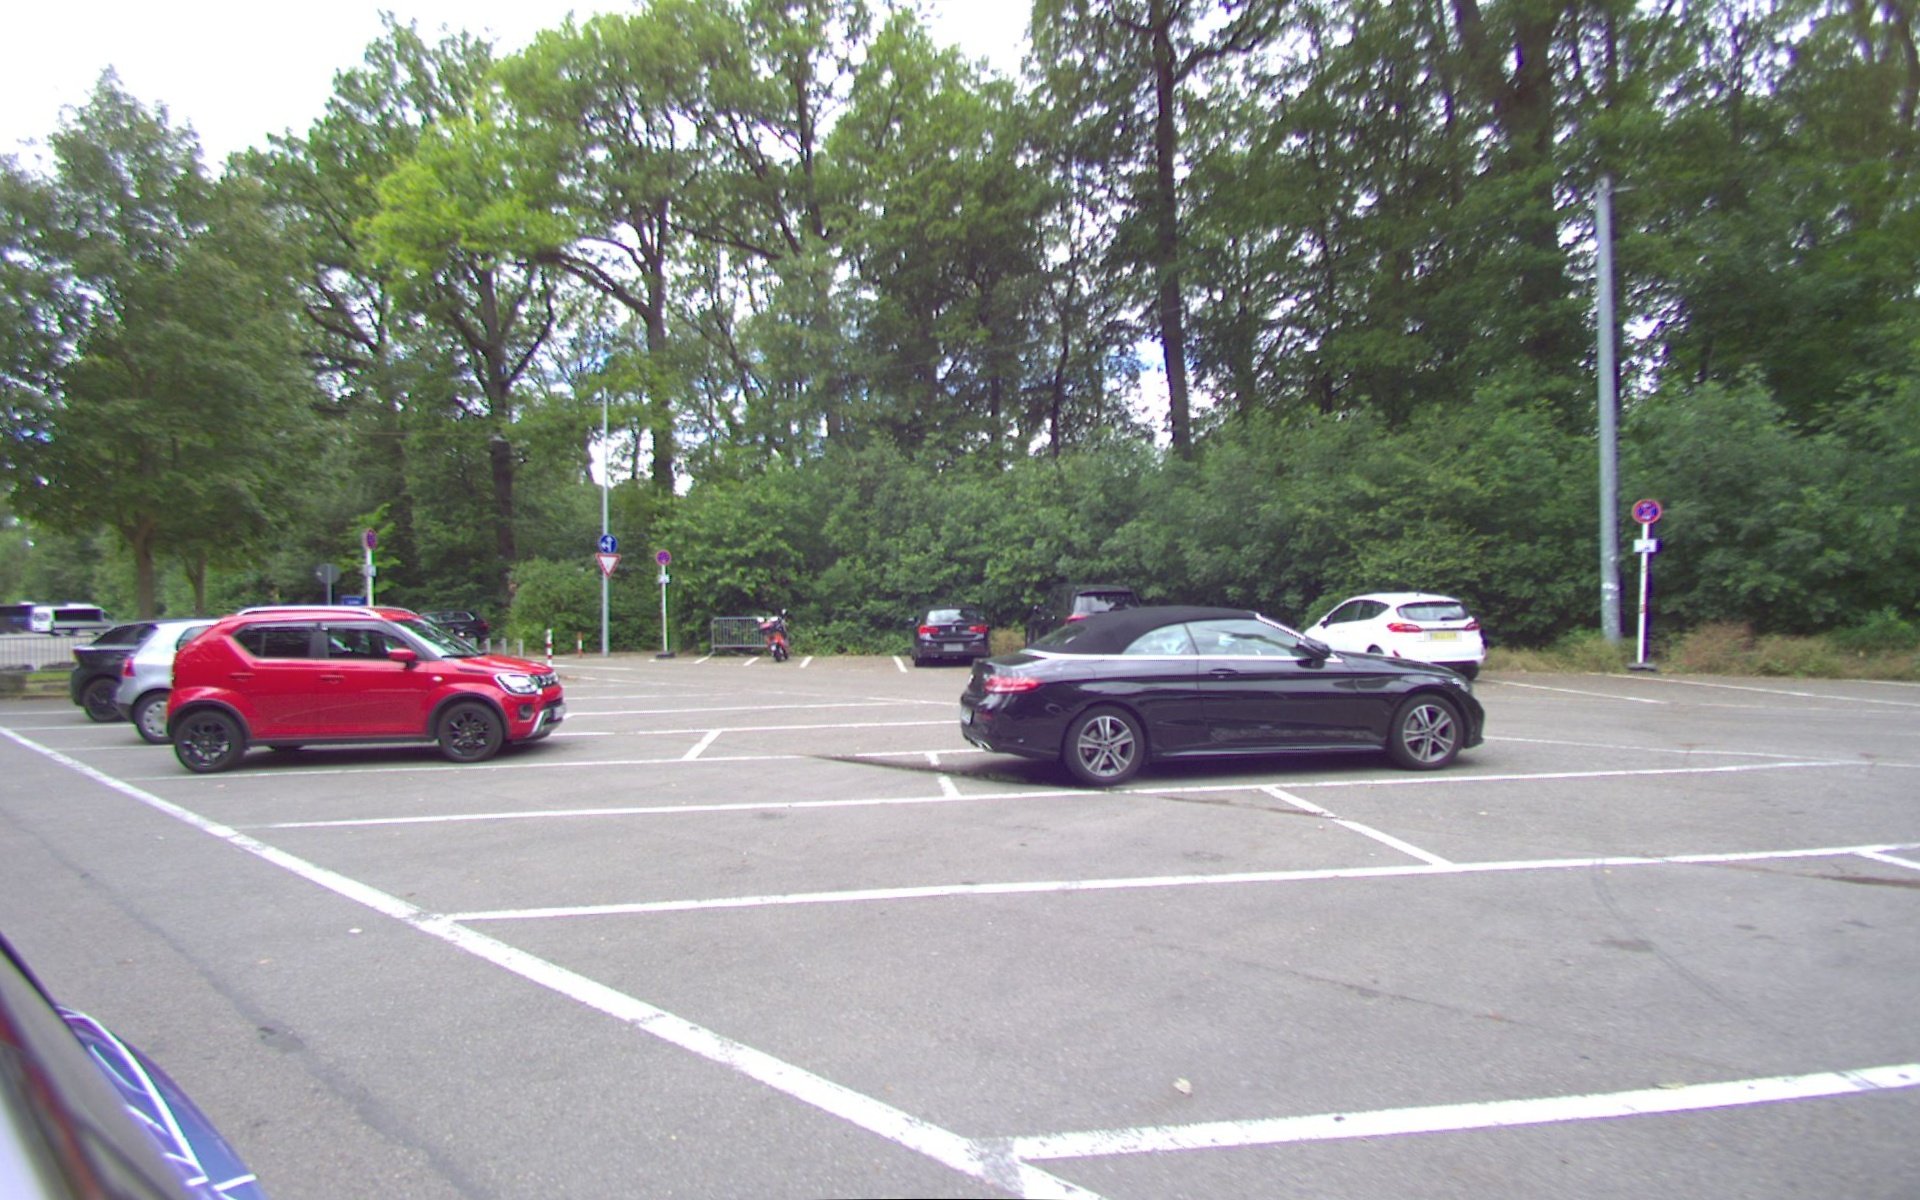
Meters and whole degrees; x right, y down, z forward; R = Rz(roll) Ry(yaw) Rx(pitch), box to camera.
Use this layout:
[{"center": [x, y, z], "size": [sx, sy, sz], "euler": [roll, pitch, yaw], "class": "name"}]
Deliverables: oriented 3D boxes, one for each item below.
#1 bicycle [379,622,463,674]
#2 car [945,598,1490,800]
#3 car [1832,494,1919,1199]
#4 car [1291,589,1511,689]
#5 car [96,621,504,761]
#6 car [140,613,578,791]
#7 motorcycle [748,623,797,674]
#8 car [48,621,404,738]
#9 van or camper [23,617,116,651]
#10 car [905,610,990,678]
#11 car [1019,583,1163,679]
[{"center": [-12.675, 1.108, 23.833], "size": [1.660, 1.120, 0.506], "euler": [-1, 0, -44], "class": "bicycle"}, {"center": [2.114, 0.768, 8.994], "size": [4.248, 1.453, 1.873], "euler": [-1, 0, -8], "class": "car"}, {"center": [3.908, 0.549, 1.324], "size": [4.124, 1.608, 1.850], "euler": [-1, -1, -7], "class": "car"}, {"center": [7.596, 0.623, 17.930], "size": [1.841, 1.522, 4.004], "euler": [-1, 0, -5], "class": "car"}, {"center": [-8.211, 1.082, 12.956], "size": [3.937, 1.495, 1.880], "euler": [-1, 0, -7], "class": "car"}, {"center": [-6.118, 0.978, 10.695], "size": [3.596, 1.597, 1.690], "euler": [-1, 0, -8], "class": "car"}, {"center": [-4.855, 1.227, 26.285], "size": [0.721, 1.217, 2.026], "euler": [-1, 0, 5], "class": "motorcycle"}, {"center": [-10.965, 1.145, 15.356], "size": [4.040, 1.534, 1.832], "euler": [-1, 0, -2], "class": "car"}, {"center": [-81.276, 3.050, 92.542], "size": [2.039, 2.871, 7.340], "euler": [-1, 0, 0], "class": "van or camper"}, {"center": [-0.382, 0.978, 24.093], "size": [1.713, 1.386, 4.004], "euler": [-1, 0, -5], "class": "car"}, {"center": [2.641, 0.610, 21.674], "size": [2.080, 1.780, 4.713], "euler": [-1, 0, -5], "class": "car"}]
